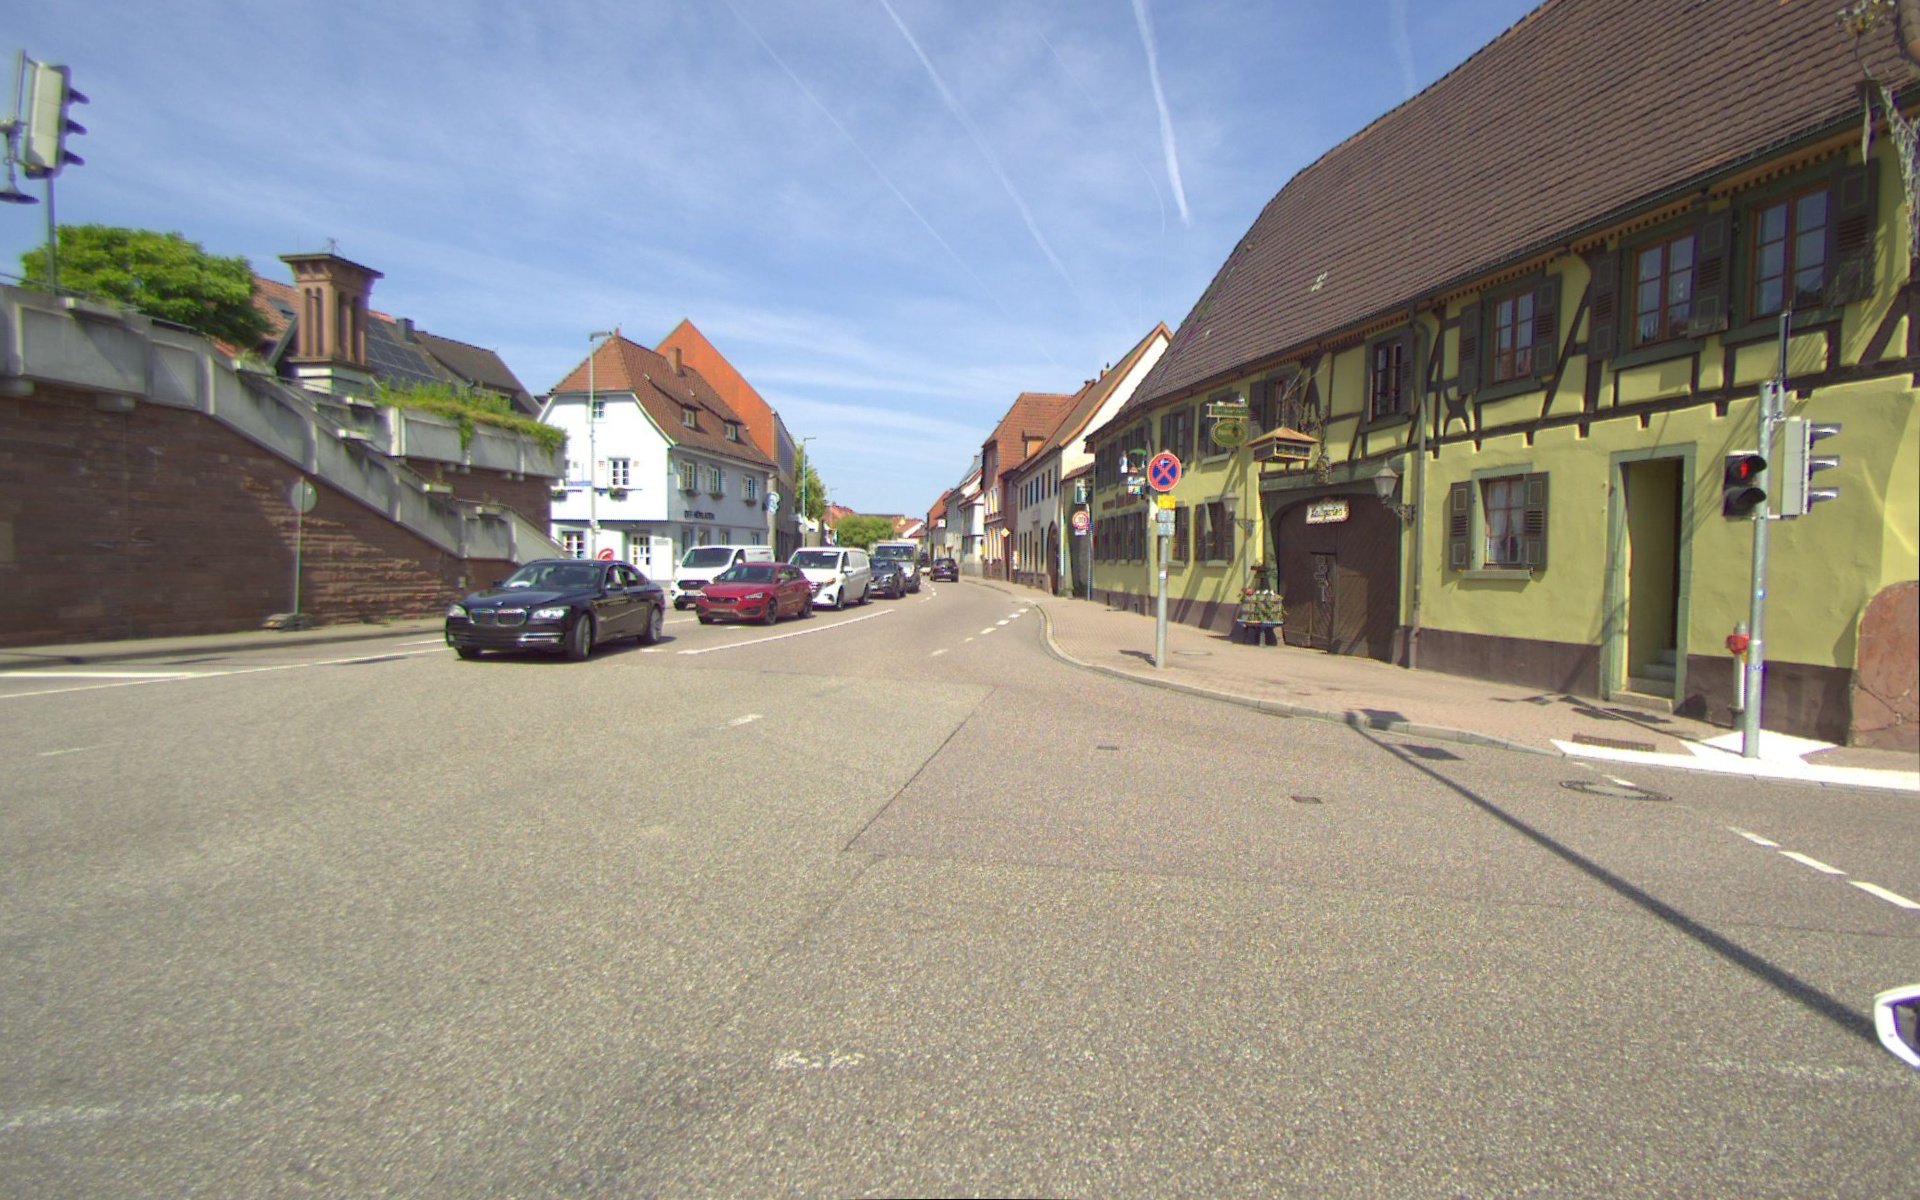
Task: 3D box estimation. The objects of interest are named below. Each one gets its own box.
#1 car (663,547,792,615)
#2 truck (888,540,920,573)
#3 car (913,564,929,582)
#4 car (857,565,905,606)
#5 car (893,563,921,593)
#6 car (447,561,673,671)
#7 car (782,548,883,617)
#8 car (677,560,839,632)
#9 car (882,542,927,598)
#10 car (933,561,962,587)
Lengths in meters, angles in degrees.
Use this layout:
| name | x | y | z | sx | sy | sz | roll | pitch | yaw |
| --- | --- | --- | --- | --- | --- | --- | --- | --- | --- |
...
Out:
| name | x | y | z | sx | sy | sz | roll | pitch | yaw |
| --- | --- | --- | --- | --- | --- | --- | --- | --- | --- |
| car | -7.409 | -0.634 | 32.648 | 2.100 | 1.993 | 5.280 | 1 | 2 | 11 |
| truck | -6.874 | -5.205 | 121.288 | 3.174 | 3.597 | 9.218 | 3 | 2 | -7 |
| car | -3.747 | -2.614 | 96.477 | 1.438 | 1.599 | 3.468 | 3 | 2 | -2 |
| car | -2.972 | -0.592 | 38.292 | 1.549 | 1.402 | 3.558 | 3 | 2 | -1 |
| car | -3.170 | -1.331 | 60.588 | 1.483 | 1.648 | 3.417 | 3 | 2 | -1 |
| car | -6.060 | 0.154 | 15.809 | 1.790 | 1.454 | 4.248 | 1 | 2 | 1 |
| car | -3.847 | -0.586 | 31.241 | 1.789 | 1.932 | 4.966 | 1 | 2 | 9 |
| car | -4.855 | -0.175 | 24.961 | 2.122 | 1.536 | 4.949 | 2 | 2 | 12 |
| car | -2.462 | -1.350 | 45.267 | 1.729 | 2.276 | 4.551 | 3 | 2 | -1 |
| car | -0.921 | -1.822 | 70.567 | 1.792 | 1.762 | 4.001 | 0 | 2 | -5 |
